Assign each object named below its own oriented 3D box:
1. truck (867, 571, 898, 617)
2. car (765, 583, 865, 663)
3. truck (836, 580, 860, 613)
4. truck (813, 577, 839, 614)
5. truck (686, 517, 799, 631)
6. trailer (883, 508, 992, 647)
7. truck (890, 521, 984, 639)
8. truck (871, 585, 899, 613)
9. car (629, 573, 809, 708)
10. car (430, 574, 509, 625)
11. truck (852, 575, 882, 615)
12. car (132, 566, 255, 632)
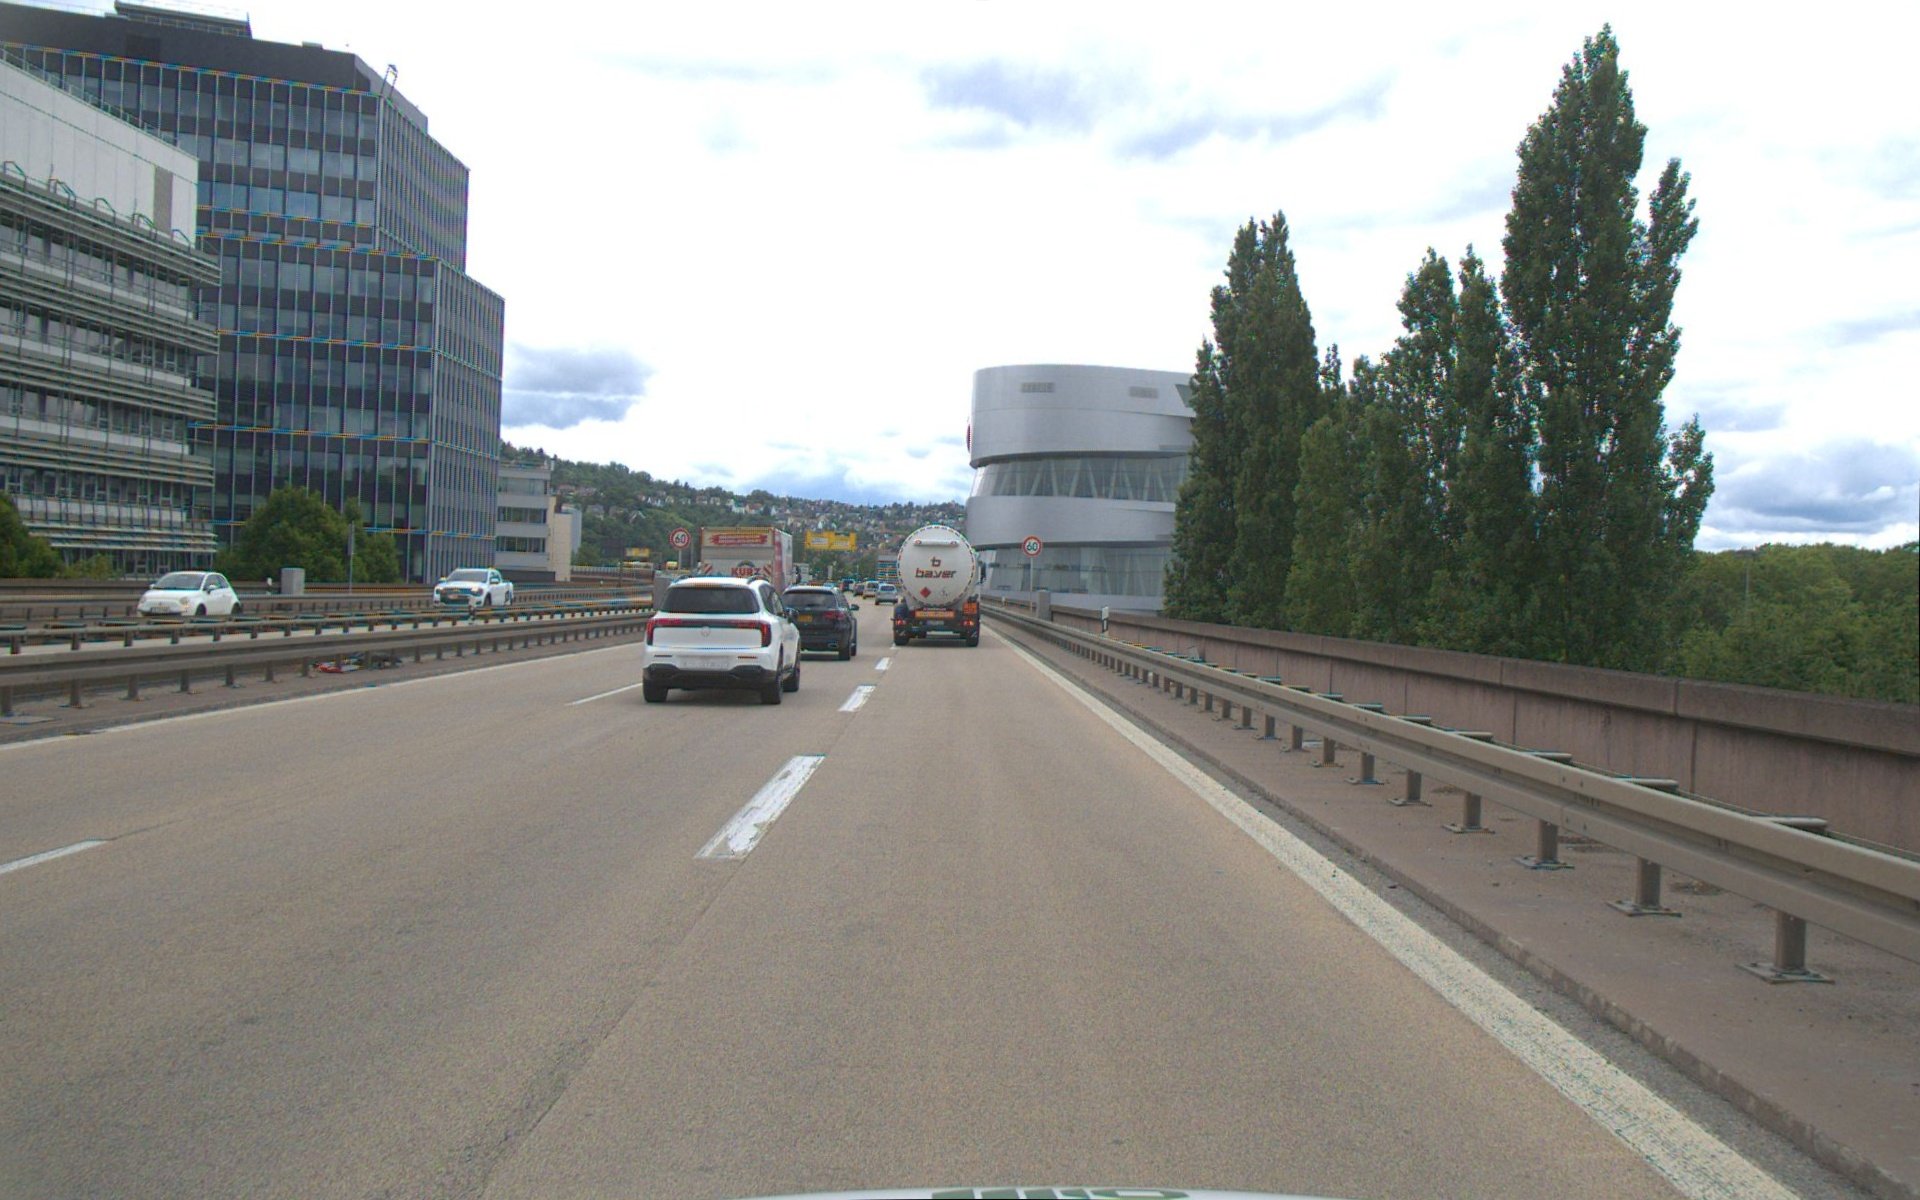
[{"bbox_3d":[-7.963,-0.603,171.105,2.995,4.642,8.300,1,0,-2],"label":"truck"},{"bbox_3d":[-3.276,0.499,38.093,1.953,1.704,4.407,1,0,-1],"label":"car"},{"bbox_3d":[-15.865,-0.487,233.569,2.998,4.642,8.292,1,0,-6],"label":"truck"},{"bbox_3d":[-17.526,-0.590,216.277,2.998,4.642,8.292,1,0,-6],"label":"truck"},{"bbox_3d":[-7.647,-0.854,59.240,2.995,3.755,8.302,1,0,-1],"label":"truck"},{"bbox_3d":[-0.683,-0.615,50.584,2.995,3.856,8.302,1,0,-1],"label":"trailer"},{"bbox_3d":[-0.758,-0.638,55.963,2.953,3.721,6.272,1,0,-1],"label":"truck"},{"bbox_3d":[-6.112,-0.073,135.655,2.210,2.201,5.066,1,0,-2],"label":"truck"},{"bbox_3d":[-3.304,0.526,23.497,1.953,1.704,4.407,1,0,-1],"label":"car"},{"bbox_3d":[-17.868,-0.004,60.434,1.750,1.750,3.775,2,0,-1],"label":"car"},{"bbox_3d":[-10.975,-0.562,194.808,2.998,4.642,8.292,1,0,-6],"label":"truck"},{"bbox_3d":[-21.197,-0.020,45.889,1.649,1.679,3.775,2,0,-1],"label":"car"}]
